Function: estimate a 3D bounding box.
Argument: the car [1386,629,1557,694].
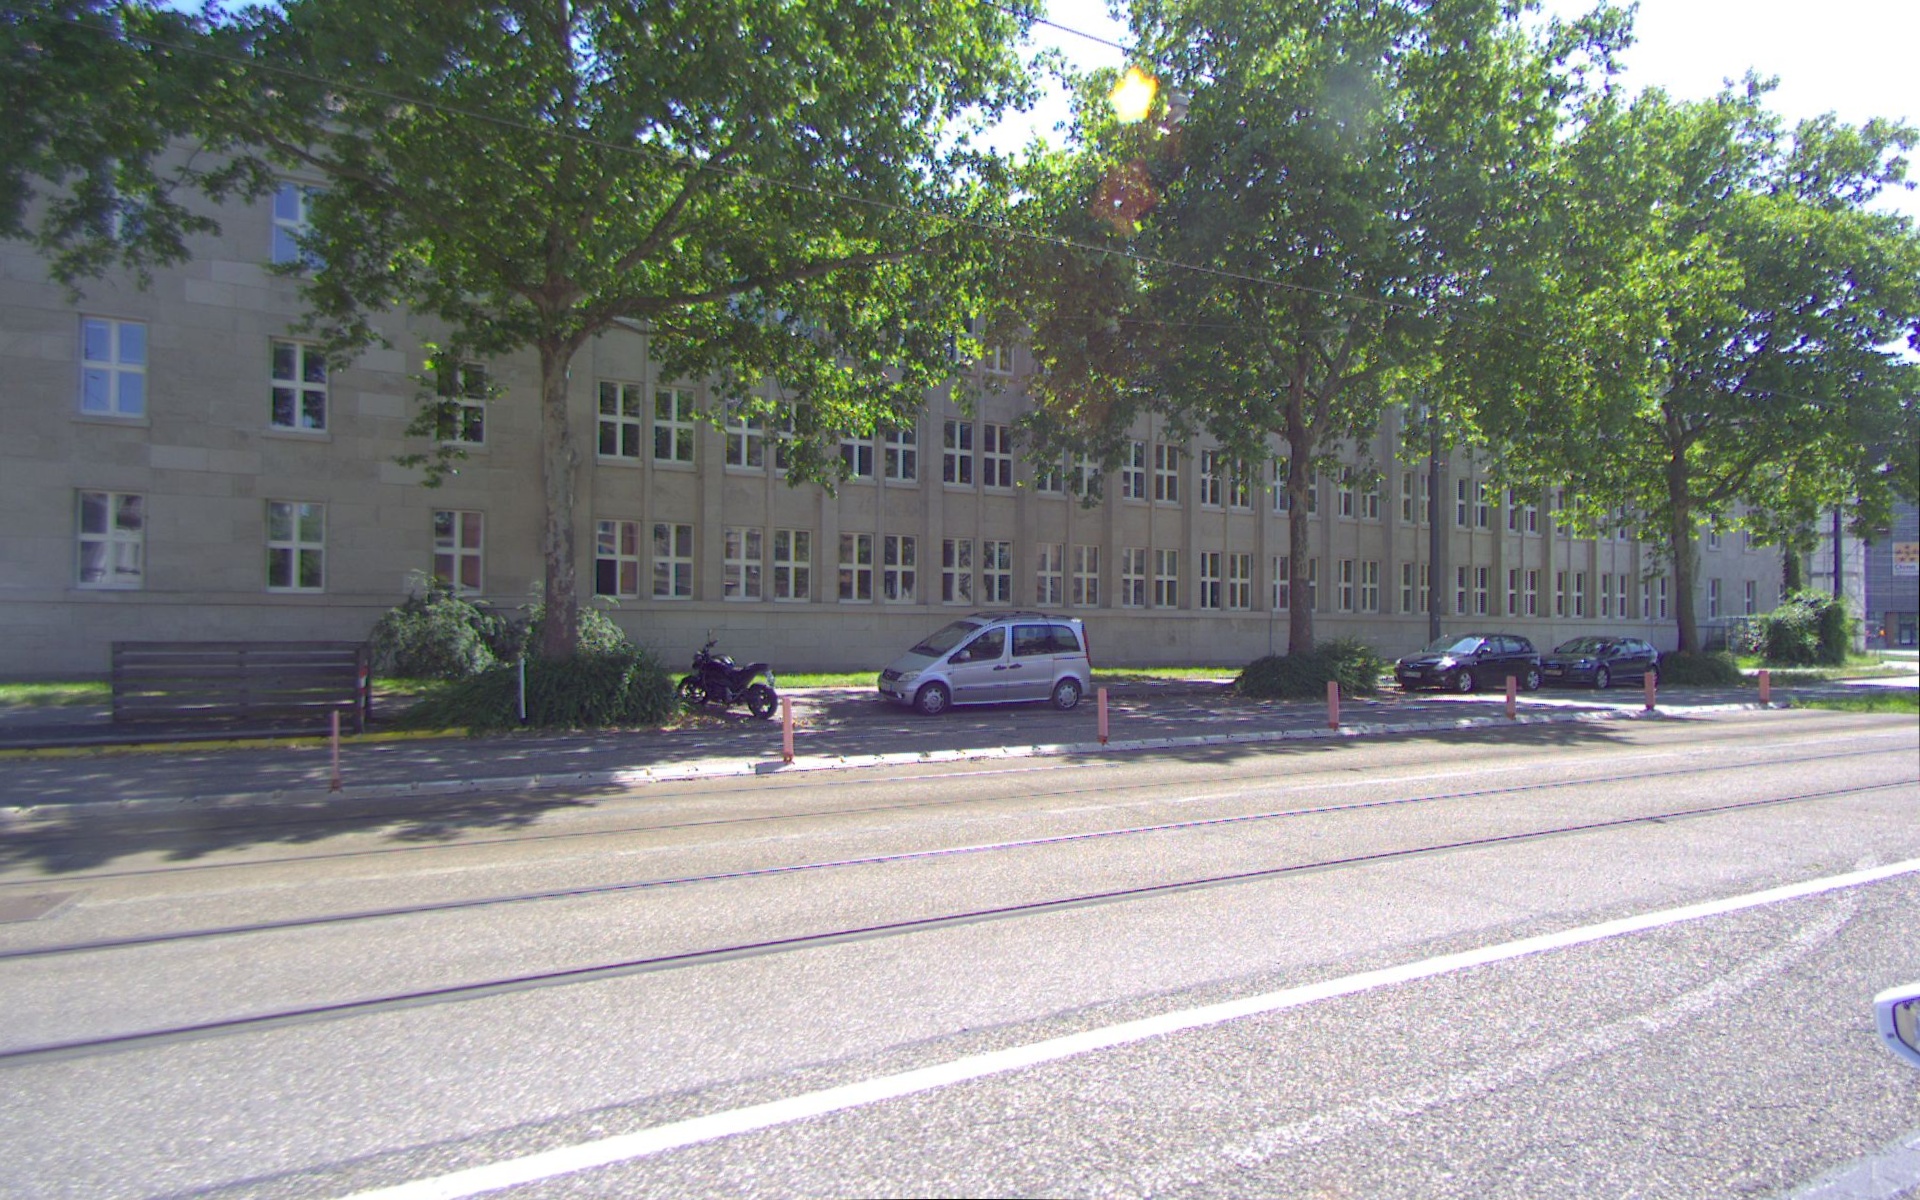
[{"bbox_3d":[13.157,1.532,25.816,4.267,1.503,1.756,1,0,-27],"label":"car"}]

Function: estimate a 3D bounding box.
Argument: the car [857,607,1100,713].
[{"bbox_3d":[0.361,1.099,19.356,4.243,1.835,1.987,1,0,-26],"label":"car"}]

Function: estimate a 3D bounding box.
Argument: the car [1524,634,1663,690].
[{"bbox_3d":[17.936,1.704,28.391,4.274,1.443,1.580,1,0,-31],"label":"car"}]

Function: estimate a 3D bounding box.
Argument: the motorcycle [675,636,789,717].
[{"bbox_3d":[-3.875,1.267,17.024,1.840,1.082,0.725,7,3,32],"label":"motorcycle"}]
